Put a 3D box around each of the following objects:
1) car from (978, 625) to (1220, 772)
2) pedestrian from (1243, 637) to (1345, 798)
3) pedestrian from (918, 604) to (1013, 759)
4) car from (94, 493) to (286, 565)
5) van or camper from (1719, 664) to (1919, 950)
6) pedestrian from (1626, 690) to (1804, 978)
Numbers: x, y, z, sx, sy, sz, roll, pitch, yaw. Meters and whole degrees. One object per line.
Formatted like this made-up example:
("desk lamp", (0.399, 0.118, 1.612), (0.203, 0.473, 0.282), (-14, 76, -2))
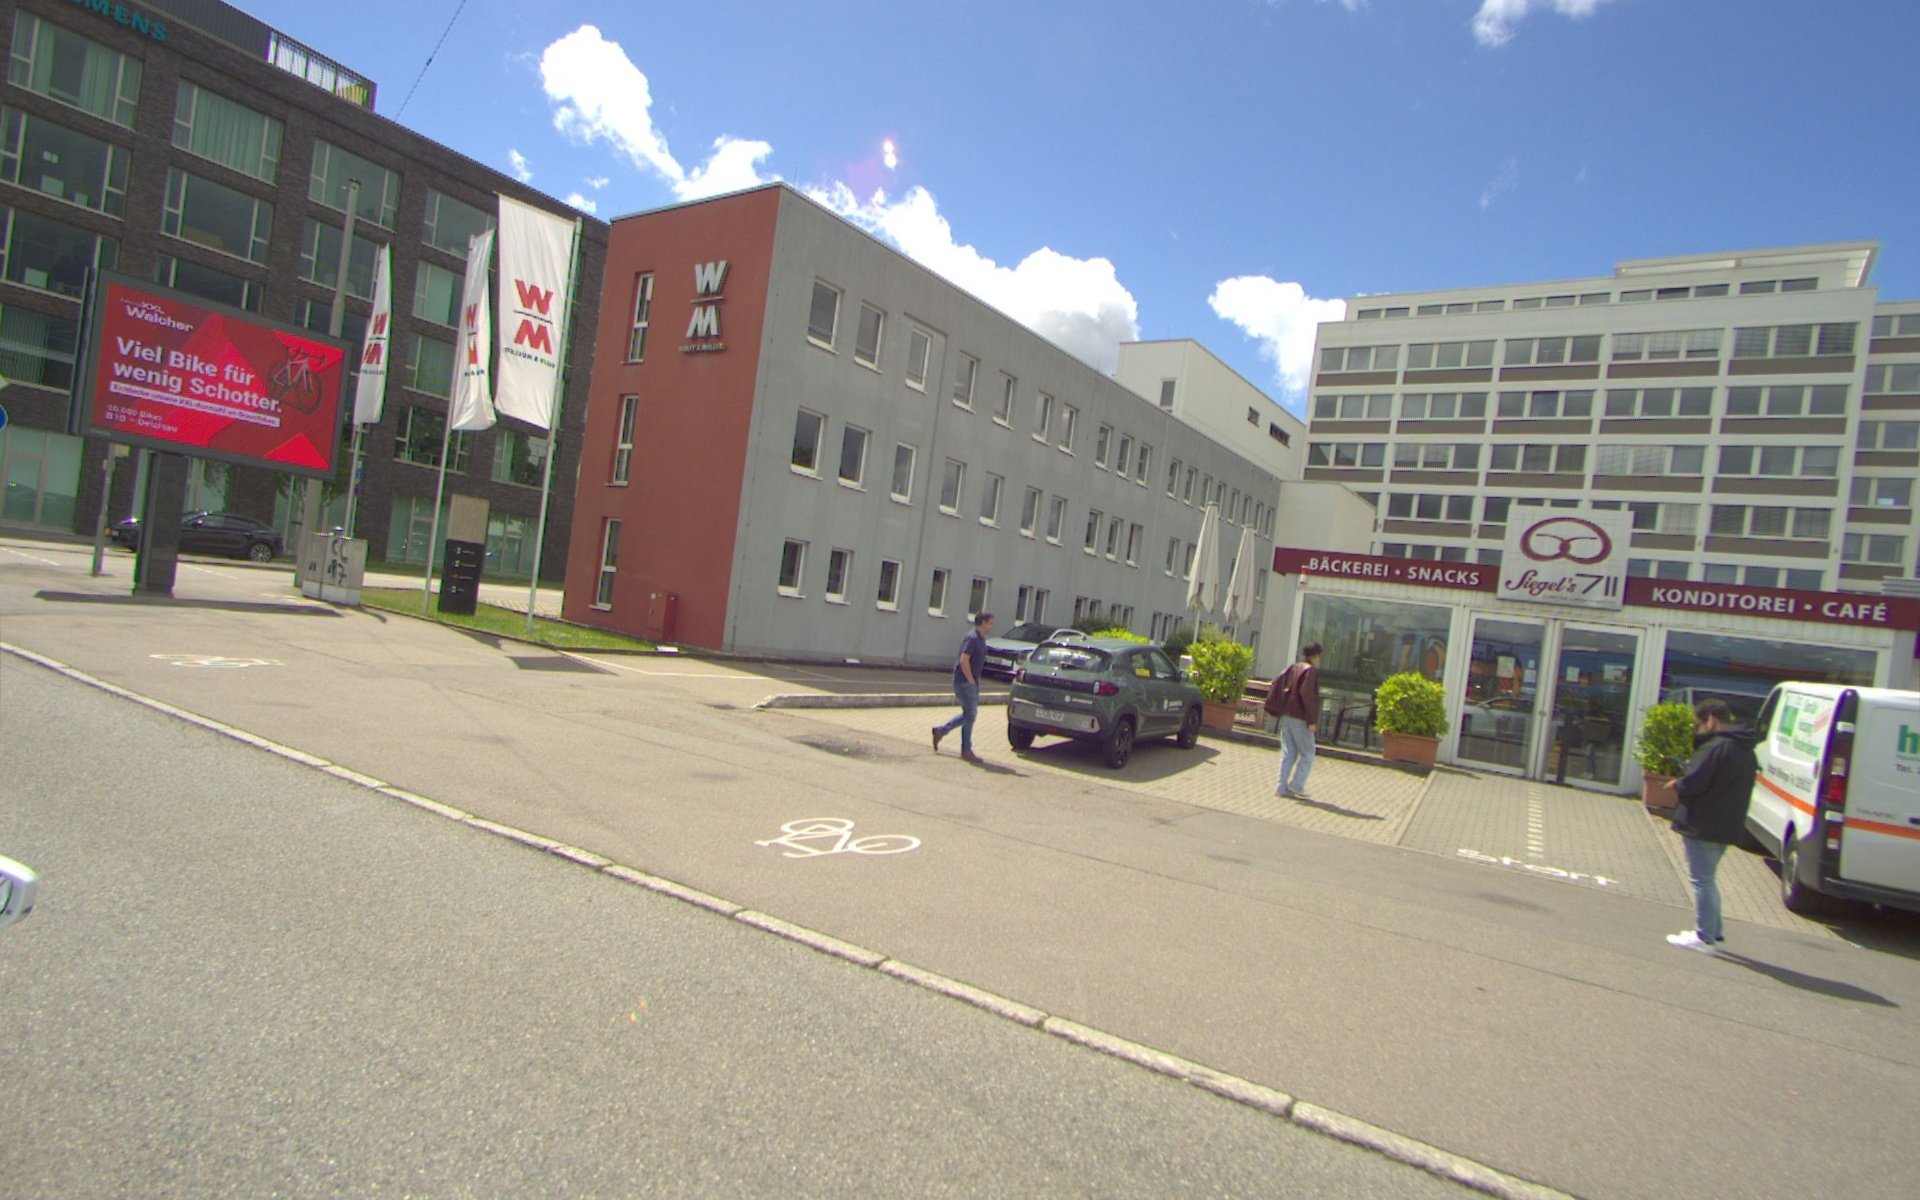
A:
("car", (1.998, 1.182, 13.579), (1.733, 1.506, 3.664), (7, 3, 33))
("pedestrian", (3.828, 1.339, 11.527), (0.743, 1.728, 0.565), (7, 0, -32))
("pedestrian", (0.063, 0.961, 11.957), (0.707, 1.728, 0.625), (7, 0, -32))
("car", (-25.821, -2.342, 33.912), (1.966, 1.638, 4.647), (7, 0, 30))
("van or camper", (8.853, 1.759, 9.399), (2.175, 1.983, 4.899), (6, 1, 32))
("pedestrian", (5.105, 1.532, 6.862), (0.727, 1.728, 0.713), (7, 0, 32))
